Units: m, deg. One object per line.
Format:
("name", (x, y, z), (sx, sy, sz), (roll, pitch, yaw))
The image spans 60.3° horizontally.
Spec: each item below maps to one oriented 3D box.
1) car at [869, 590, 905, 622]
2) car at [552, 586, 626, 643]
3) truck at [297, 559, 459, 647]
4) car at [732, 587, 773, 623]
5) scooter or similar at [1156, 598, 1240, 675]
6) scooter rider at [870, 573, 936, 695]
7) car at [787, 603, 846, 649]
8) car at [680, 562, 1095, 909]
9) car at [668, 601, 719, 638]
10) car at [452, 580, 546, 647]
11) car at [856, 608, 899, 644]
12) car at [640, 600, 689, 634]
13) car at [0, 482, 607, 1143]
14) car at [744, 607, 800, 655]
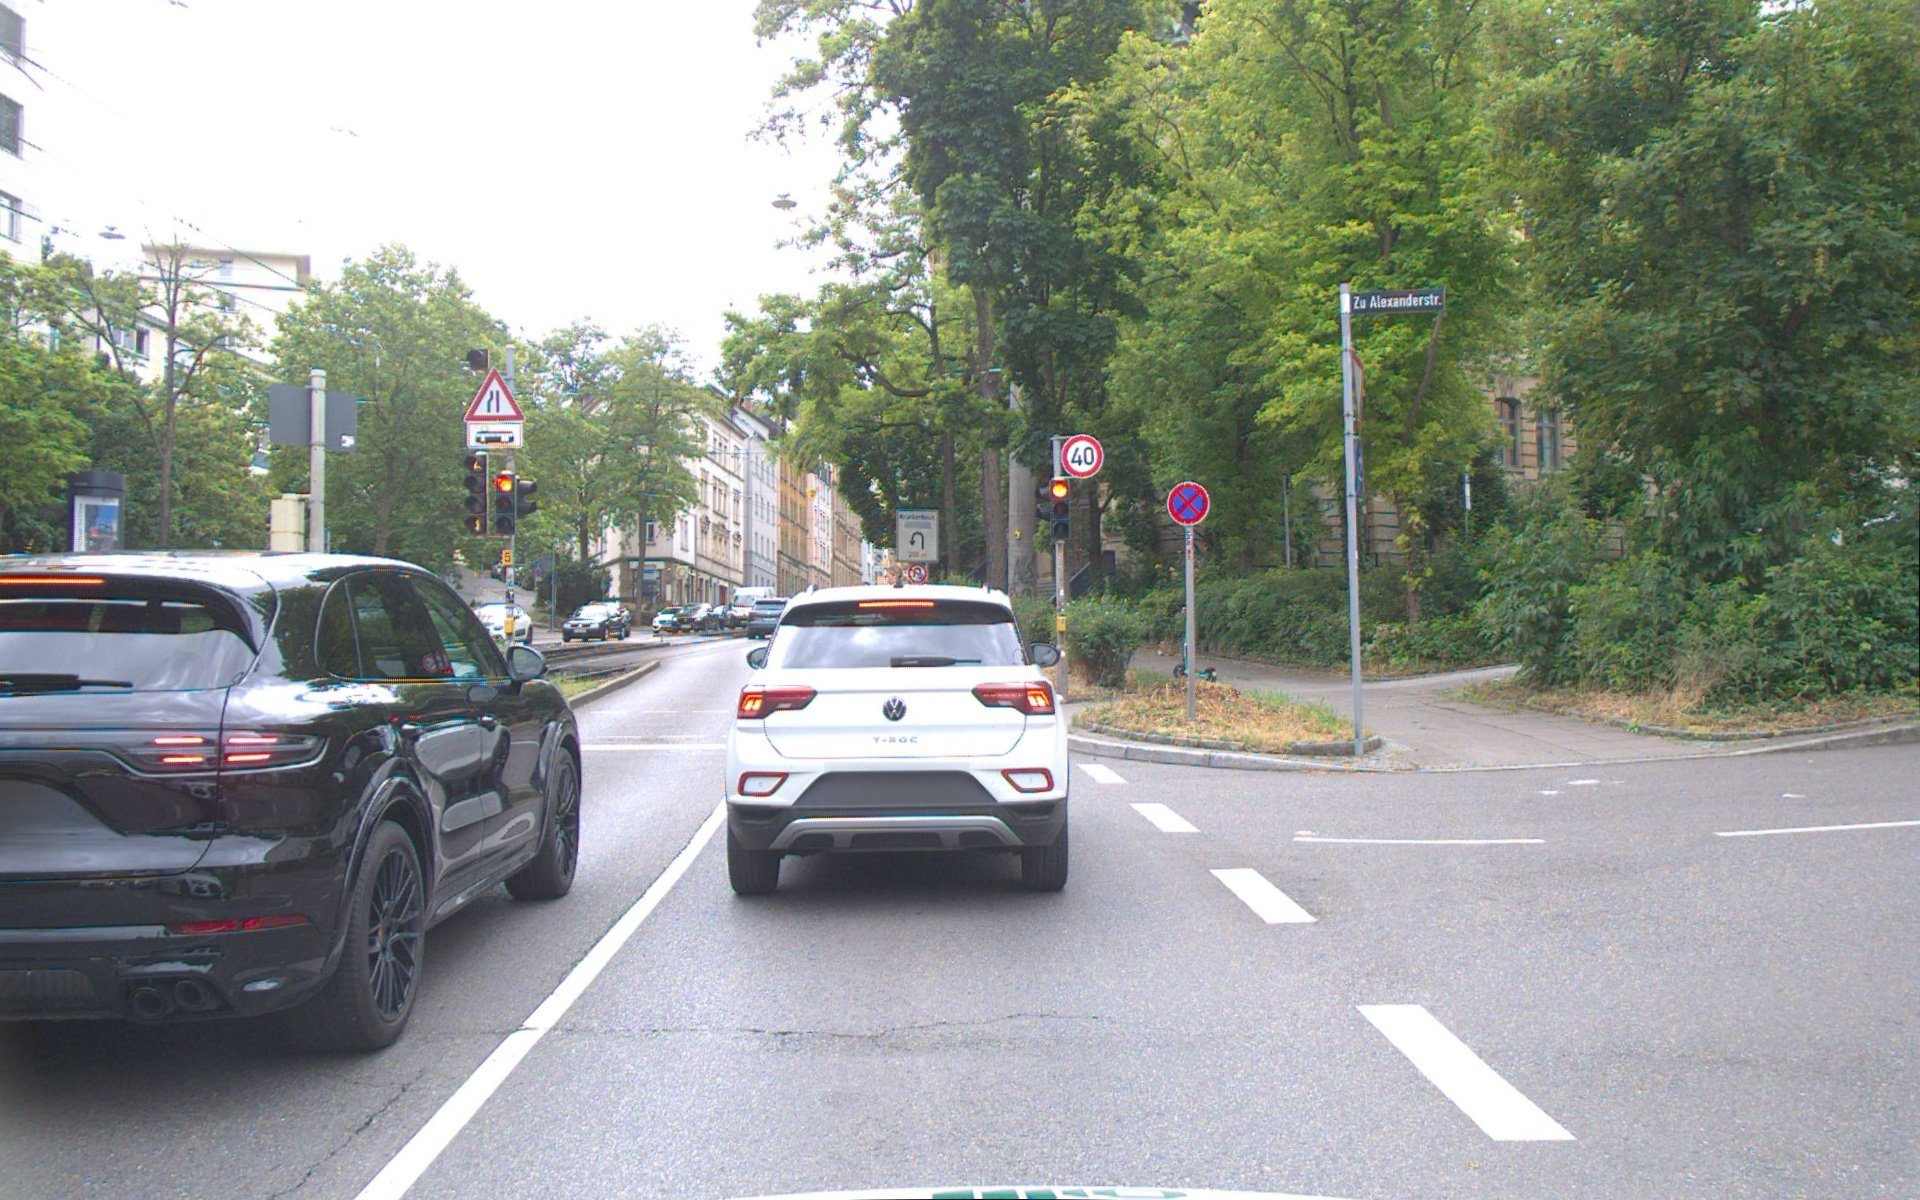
("car", (-5.274, 0.435, 119.564), (2.372, 2.207, 6.032), (-1, 0, -1))
("car", (-14.525, 0.609, 64.948), (1.953, 2.049, 3.998), (2, -3, -1))
("truck", (-16.035, 0.152, 46.017), (2.372, 2.208, 6.031), (2, -2, -1))
("car", (-12.465, 0.291, 99.501), (1.953, 2.049, 3.999), (-1, 0, -1))
("scooter or similar", (3.593, 0.551, 25.046), (0.469, 1.119, 1.353), (-1, 0, -32))
("scooter rider", (-0.757, 0.448, 22.053), (0.761, 1.585, 0.533), (-1, 0, 9))
("car", (-5.469, 1.030, 63.529), (1.864, 1.602, 3.833), (2, -3, 0))
("car", (-0.387, 0.650, 9.659), (1.899, 1.594, 4.044), (0, -1, -2))
("car", (-13.575, 1.010, 84.337), (1.953, 1.652, 3.998), (2, -3, -1))
("car", (-15.559, 0.510, 55.999), (1.953, 2.049, 3.999), (2, -3, 0))
("car", (-4.150, 1.348, 83.857), (1.953, 1.652, 3.998), (2, -3, -1))
("car", (-16.068, 0.945, 90.114), (1.953, 1.652, 3.998), (2, -3, -1))
("car", (-2.849, 0.621, 6.682), (1.987, 1.714, 4.778), (0, -2, -2))
("car", (-7.724, 1.301, 68.228), (1.801, 1.771, 3.999), (0, -4, 1))
